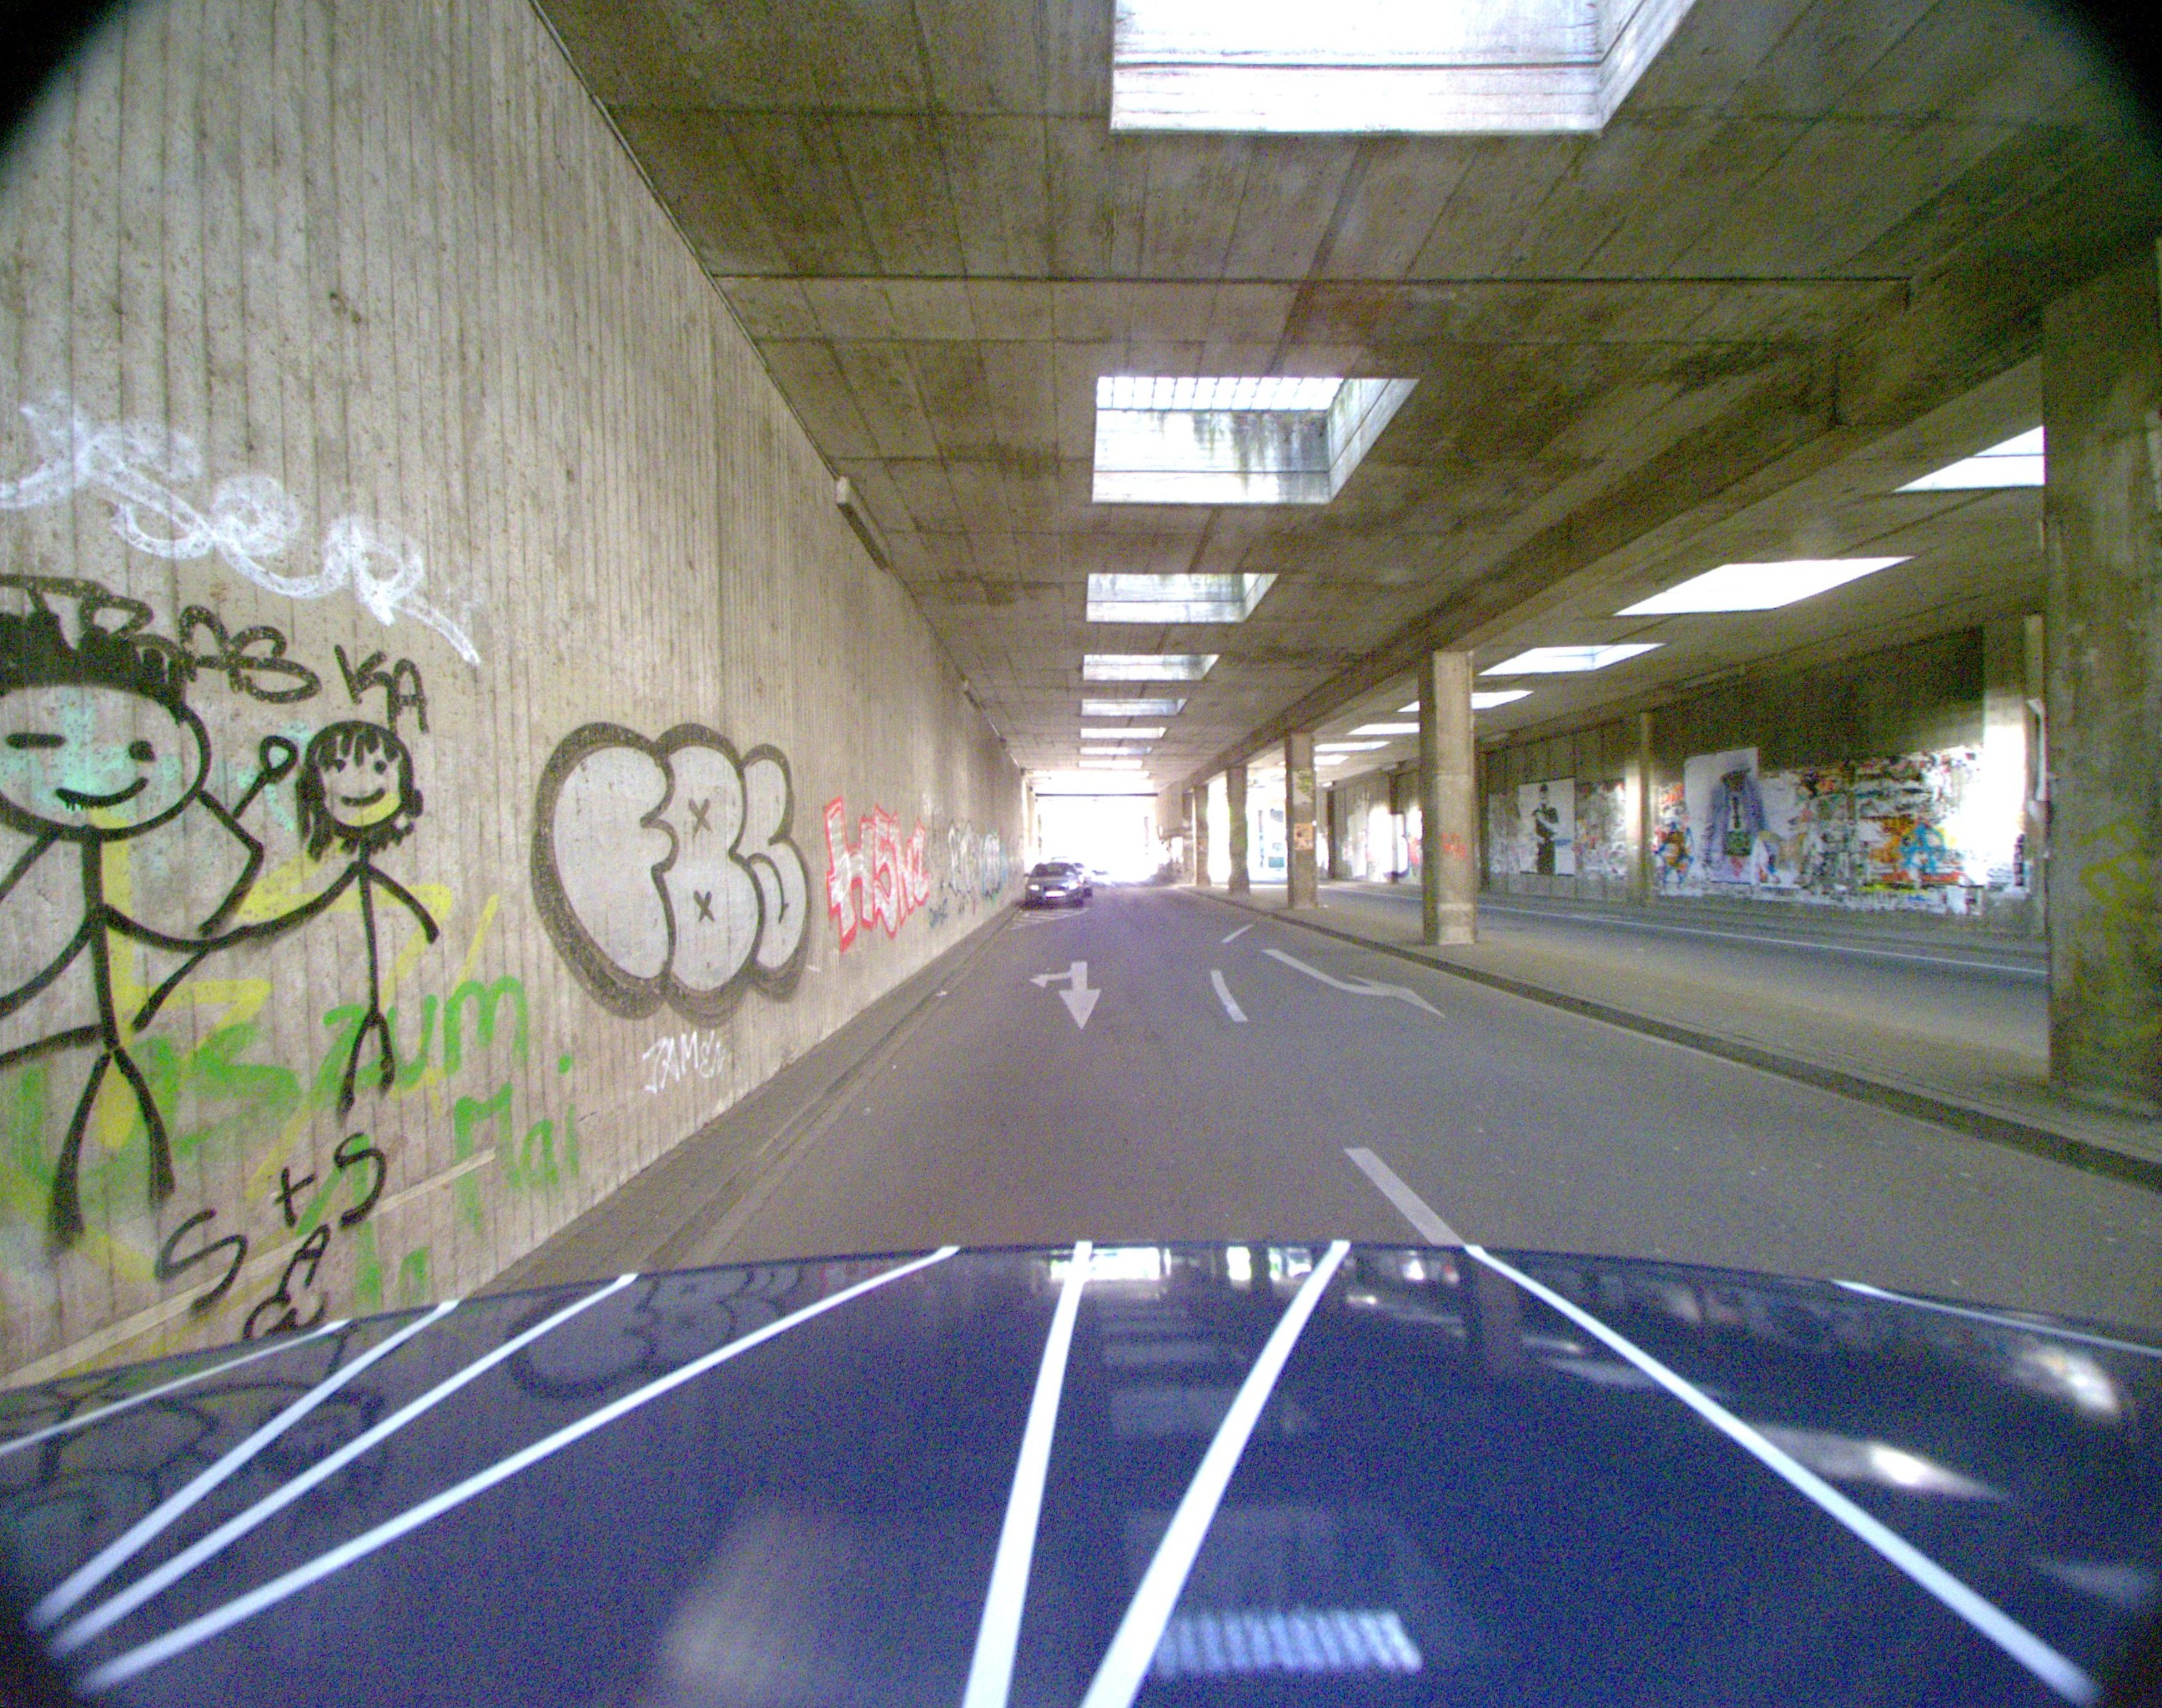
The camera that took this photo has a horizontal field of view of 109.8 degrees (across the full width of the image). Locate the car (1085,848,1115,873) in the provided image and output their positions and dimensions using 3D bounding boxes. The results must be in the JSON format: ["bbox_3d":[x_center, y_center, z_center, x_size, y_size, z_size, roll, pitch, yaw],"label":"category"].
[{"bbox_3d":[1.399,0.475,58.111,1.999,1.740,4.858,-2,1,-2],"label":"car"}]

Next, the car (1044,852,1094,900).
[{"bbox_3d":[-0.506,0.797,29.797,1.767,1.634,3.999,-2,1,-2],"label":"car"}]

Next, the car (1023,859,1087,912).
[{"bbox_3d":[-0.740,0.919,24.007,1.767,1.407,3.999,-2,1,1],"label":"car"}]

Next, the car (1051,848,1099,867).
[{"bbox_3d":[-0.651,0.342,78.885,4.857,1.740,1.999,-2,1,-2],"label":"car"}]
